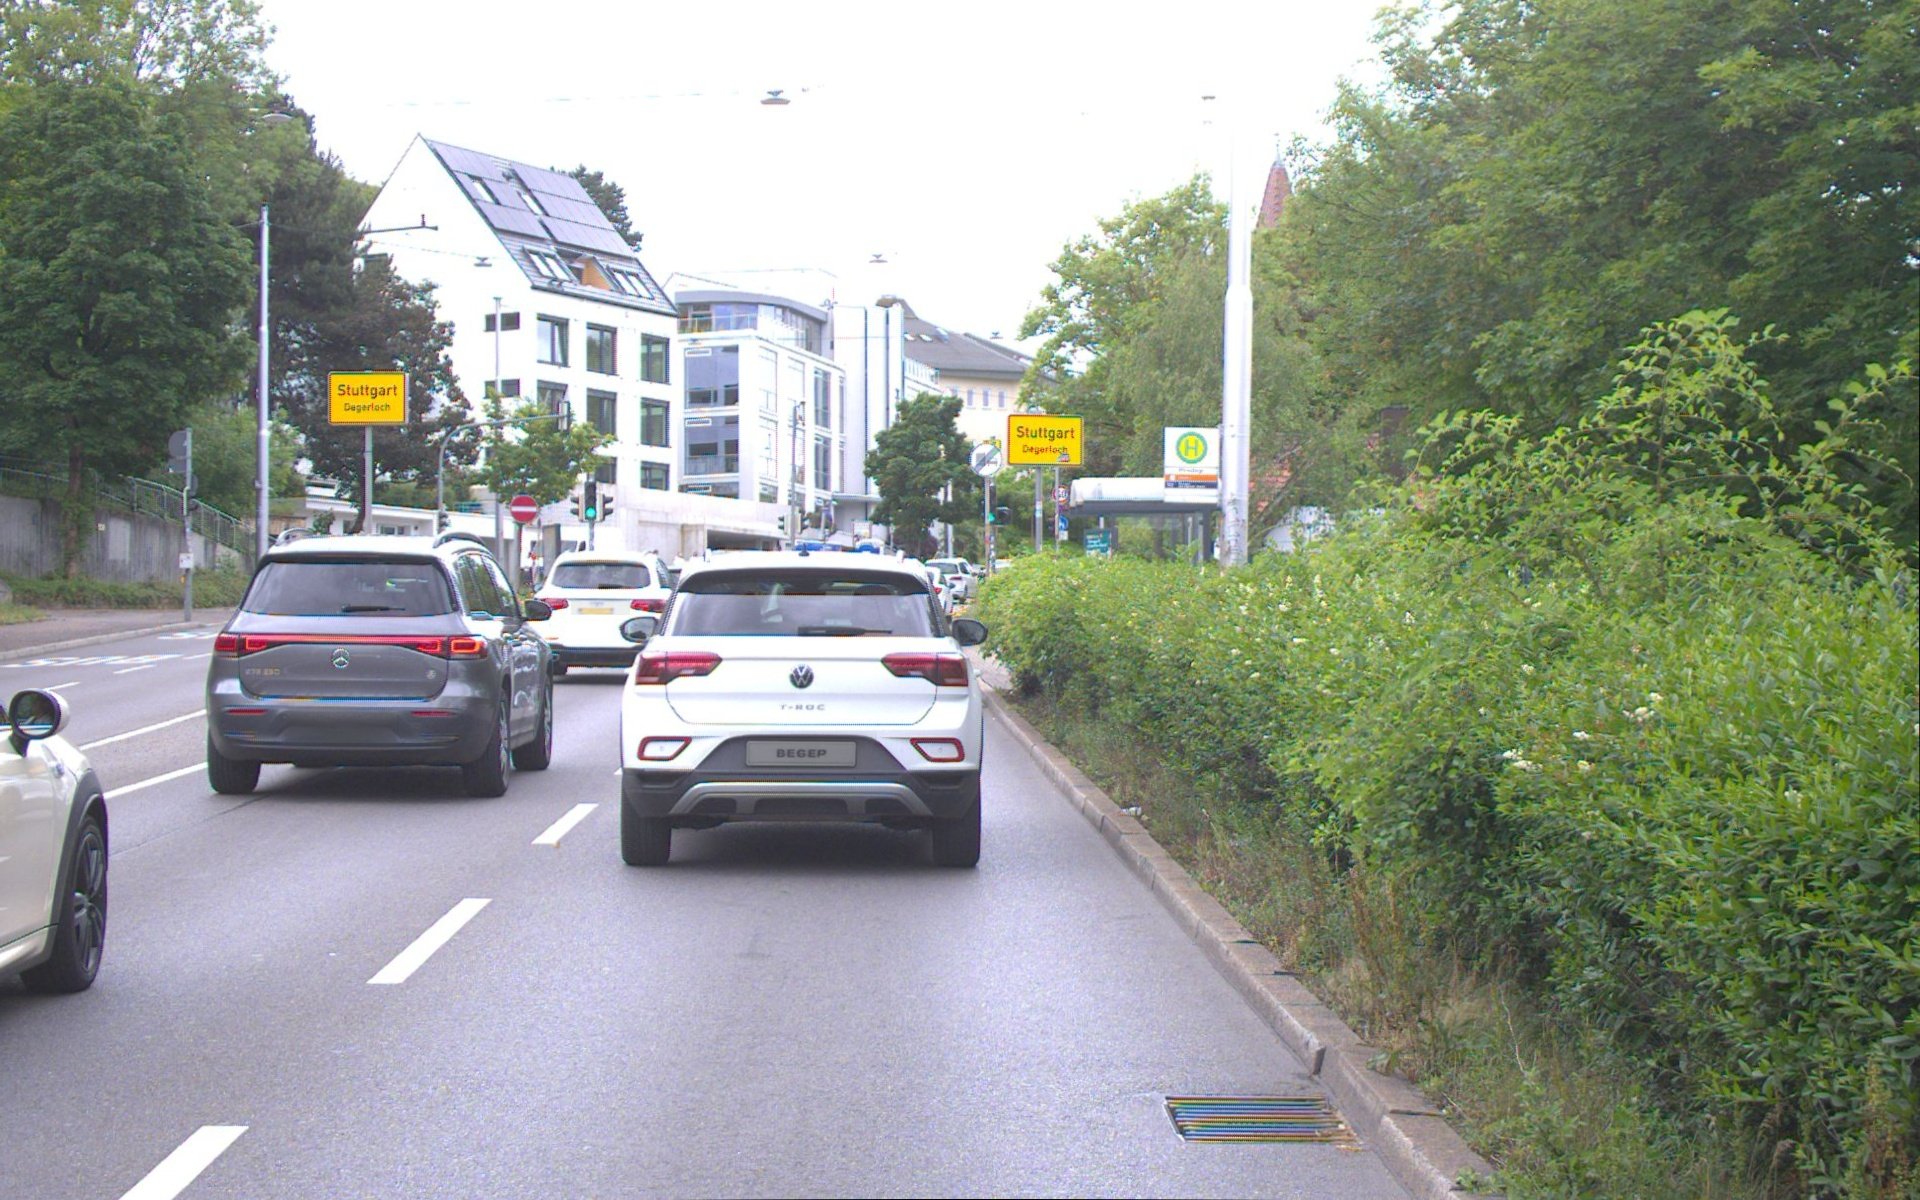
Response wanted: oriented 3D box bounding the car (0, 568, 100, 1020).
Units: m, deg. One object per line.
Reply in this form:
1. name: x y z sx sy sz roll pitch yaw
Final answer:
1. car: -3.763 0.605 10.394 1.627 1.388 3.566 0 1 -4

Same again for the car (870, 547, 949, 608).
1. car: -1.312 -0.588 87.619 1.858 1.495 4.056 0 1 -3

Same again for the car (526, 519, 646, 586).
1. car: -14.757 -1.875 136.275 2.233 2.559 7.417 0 1 14

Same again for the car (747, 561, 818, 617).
1. car: -4.821 -0.315 93.380 1.858 1.495 4.056 0 1 -3

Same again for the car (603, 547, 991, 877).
1. car: -0.857 0.502 17.982 1.811 1.534 3.690 0 1 -3

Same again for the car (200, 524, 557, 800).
1. car: -3.759 0.344 22.943 1.812 1.646 4.637 0 1 -3

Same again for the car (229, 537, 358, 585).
1. car: -21.883 -1.268 112.879 4.118 1.534 1.599 0 1 -13

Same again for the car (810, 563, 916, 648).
1. car: -1.936 0.077 67.272 1.873 1.496 4.556 3 0 -3

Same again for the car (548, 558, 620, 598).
1. car: -14.040 -0.848 128.642 1.622 1.460 3.925 0 1 11

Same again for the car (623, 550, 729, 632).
1. car: -5.350 -0.185 65.136 1.858 1.495 4.056 0 1 -3

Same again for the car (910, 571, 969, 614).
1. car: -0.701 -0.270 122.324 1.858 1.495 4.055 0 1 3

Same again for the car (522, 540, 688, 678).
1. car: -4.450 0.086 43.639 1.858 1.646 4.637 0 1 -3

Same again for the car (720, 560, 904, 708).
1. car: -1.604 0.322 36.854 1.858 1.495 4.056 0 1 -3

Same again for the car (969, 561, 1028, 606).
1. car: 1.330 -0.575 117.821 1.858 1.495 4.055 0 1 3
